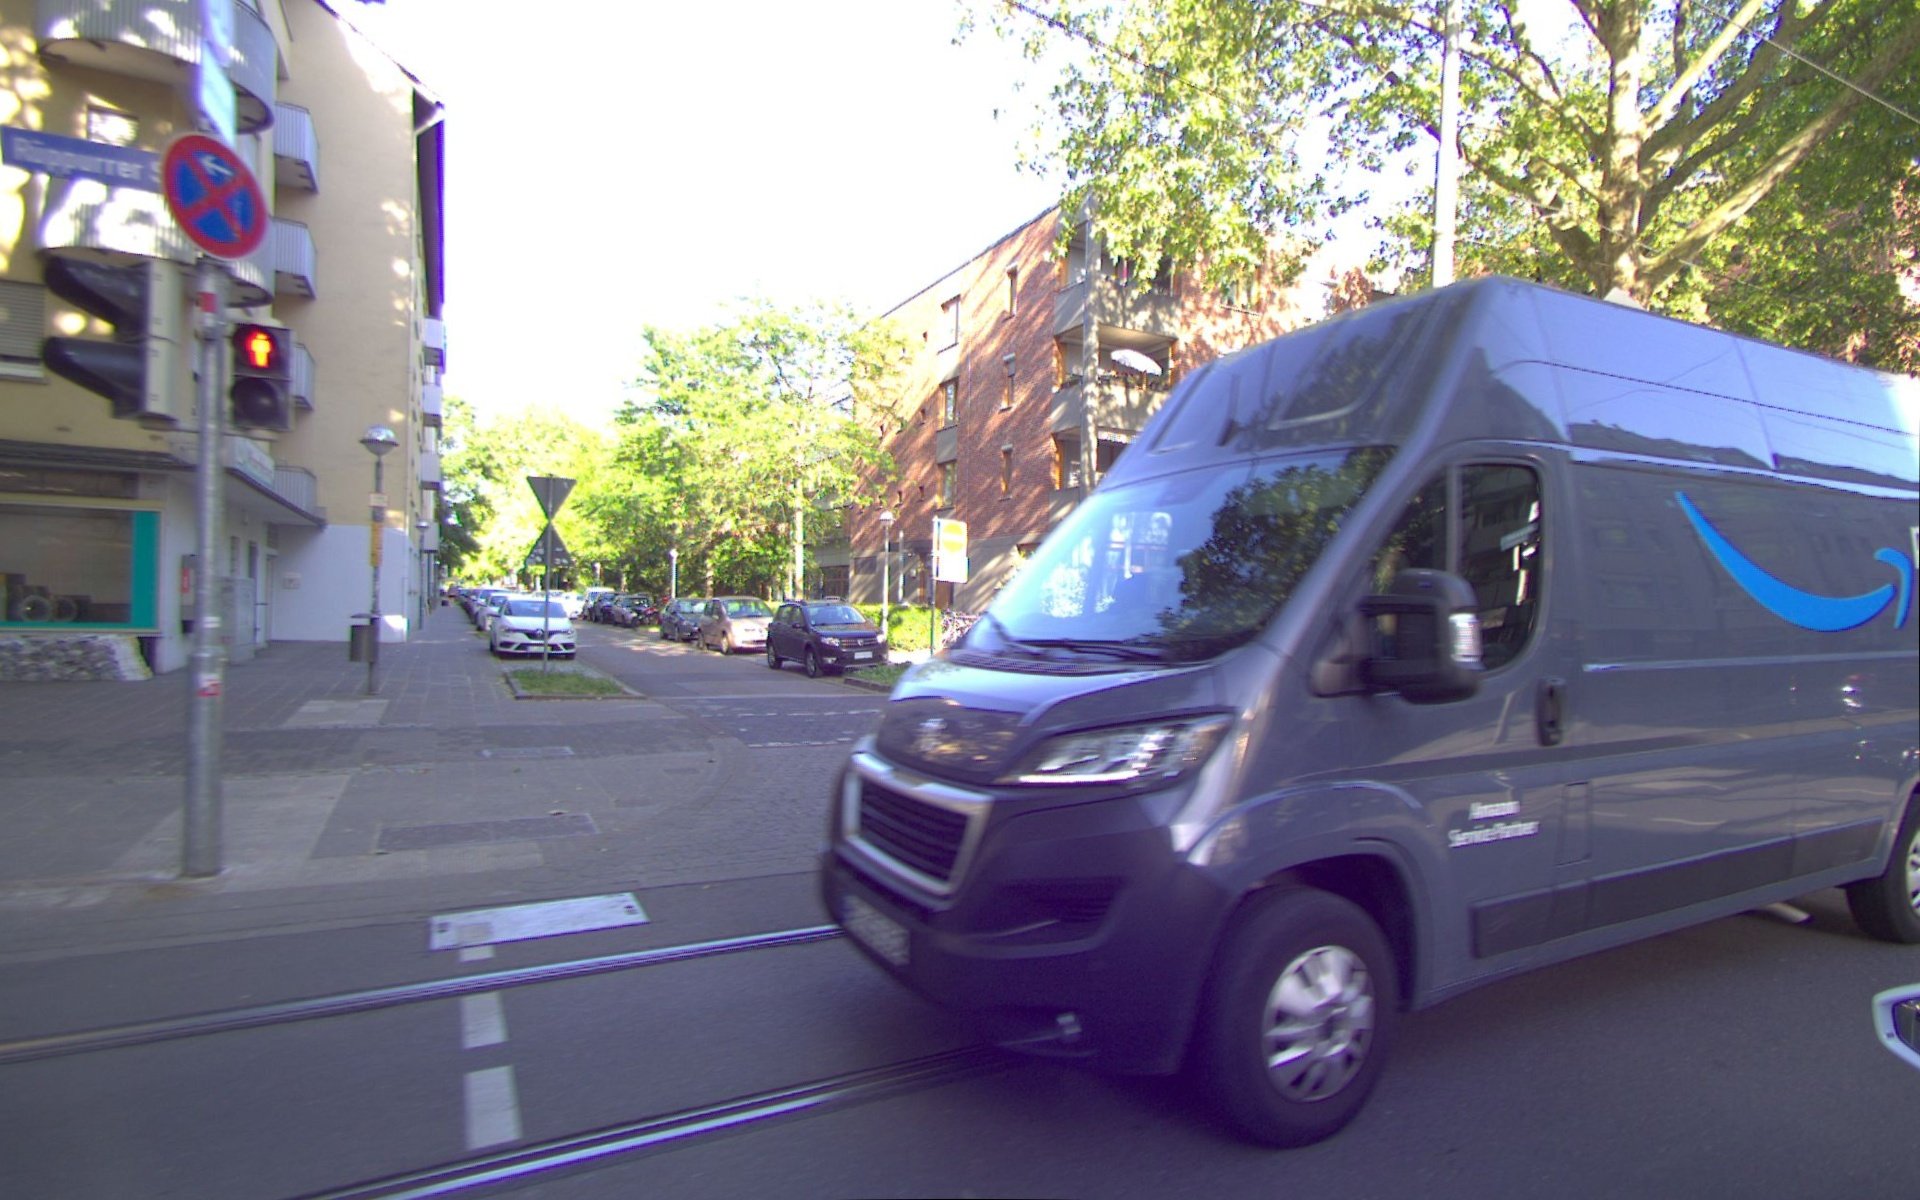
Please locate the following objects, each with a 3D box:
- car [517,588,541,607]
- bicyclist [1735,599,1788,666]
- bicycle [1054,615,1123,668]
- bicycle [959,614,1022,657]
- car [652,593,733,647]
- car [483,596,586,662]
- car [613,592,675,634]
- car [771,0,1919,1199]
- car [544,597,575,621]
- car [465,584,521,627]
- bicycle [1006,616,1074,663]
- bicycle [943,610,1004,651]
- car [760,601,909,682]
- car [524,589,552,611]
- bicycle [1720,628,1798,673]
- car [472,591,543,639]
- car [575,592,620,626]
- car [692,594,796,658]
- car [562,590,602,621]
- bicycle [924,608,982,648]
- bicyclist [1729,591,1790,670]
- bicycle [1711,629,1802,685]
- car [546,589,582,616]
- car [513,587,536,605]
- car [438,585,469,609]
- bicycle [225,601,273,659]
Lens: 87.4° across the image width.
[{"bbox_3d":[-41.995,-0.284,97.810,1.801,1.728,3.970,2,0,-28],"label":"car"},{"bbox_3d":[21.705,0.874,27.212,0.986,1.773,0.771,2,1,-30],"label":"bicyclist"},{"bbox_3d":[2.882,0.919,22.460,1.518,1.099,0.539,-1,2,-29],"label":"bicycle"},{"bbox_3d":[0.803,0.939,26.607,1.619,1.099,0.539,0,1,-29],"label":"bicycle"},{"bbox_3d":[-9.361,0.663,34.918,1.845,1.684,3.970,2,0,-28],"label":"car"},{"bbox_3d":[-10.585,0.677,24.832,1.975,1.394,3.970,2,0,-28],"label":"car"},{"bbox_3d":[-13.813,0.552,43.784,1.815,1.639,3.970,2,0,-28],"label":"car"},{"bbox_3d":[2.405,0.138,4.561,6.038,2.774,2.105,2,-1,-28],"label":"car"},{"bbox_3d":[-31.132,0.696,77.967,1.801,1.728,3.970,2,0,-28],"label":"car"},{"bbox_3d":[-20.601,0.209,44.215,1.975,1.706,3.970,2,0,-28],"label":"car"},{"bbox_3d":[1.961,0.951,24.591,1.619,1.099,0.539,0,2,-29],"label":"bicycle"},{"bbox_3d":[0.383,0.854,27.989,1.619,1.098,0.539,2,1,-29],"label":"bicycle"},{"bbox_3d":[-2.878,0.864,22.348,1.975,1.528,3.970,2,0,-28],"label":"car"},{"bbox_3d":[-36.483,-0.016,86.813,1.801,1.728,3.970,2,0,-28],"label":"car"},{"bbox_3d":[21.644,1.367,27.203,2.566,1.125,0.778,2,0,-31],"label":"bicycle"},{"bbox_3d":[-15.826,0.491,35.025,1.975,1.477,3.970,2,0,-28],"label":"car"},{"bbox_3d":[-20.249,0.470,56.067,1.801,1.728,3.970,2,0,-28],"label":"car"},{"bbox_3d":[-6.353,0.724,29.225,1.937,1.684,3.970,2,0,-28],"label":"car"},{"bbox_3d":[-23.436,0.316,62.227,1.801,1.728,3.970,2,0,-28],"label":"car"},{"bbox_3d":[-0.197,0.824,29.194,1.619,1.098,0.539,2,1,-29],"label":"bicycle"},{"bbox_3d":[18.685,0.705,23.478,0.940,1.786,0.778,2,1,-30],"label":"bicyclist"},{"bbox_3d":[18.652,1.330,23.495,2.566,1.207,0.778,2,1,-31],"label":"bicycle"},{"bbox_3d":[-26.838,0.155,68.077,1.801,1.728,3.970,2,0,-28],"label":"car"},{"bbox_3d":[-44.641,-0.411,102.867,1.801,1.728,3.970,2,0,-28],"label":"car"},{"bbox_3d":[-38.053,-0.235,75.458,1.975,1.706,3.970,2,0,-28],"label":"car"},{"bbox_3d":[-14.405,0.588,20.377,0.536,1.099,1.628,0,1,-26],"label":"bicycle"}]
